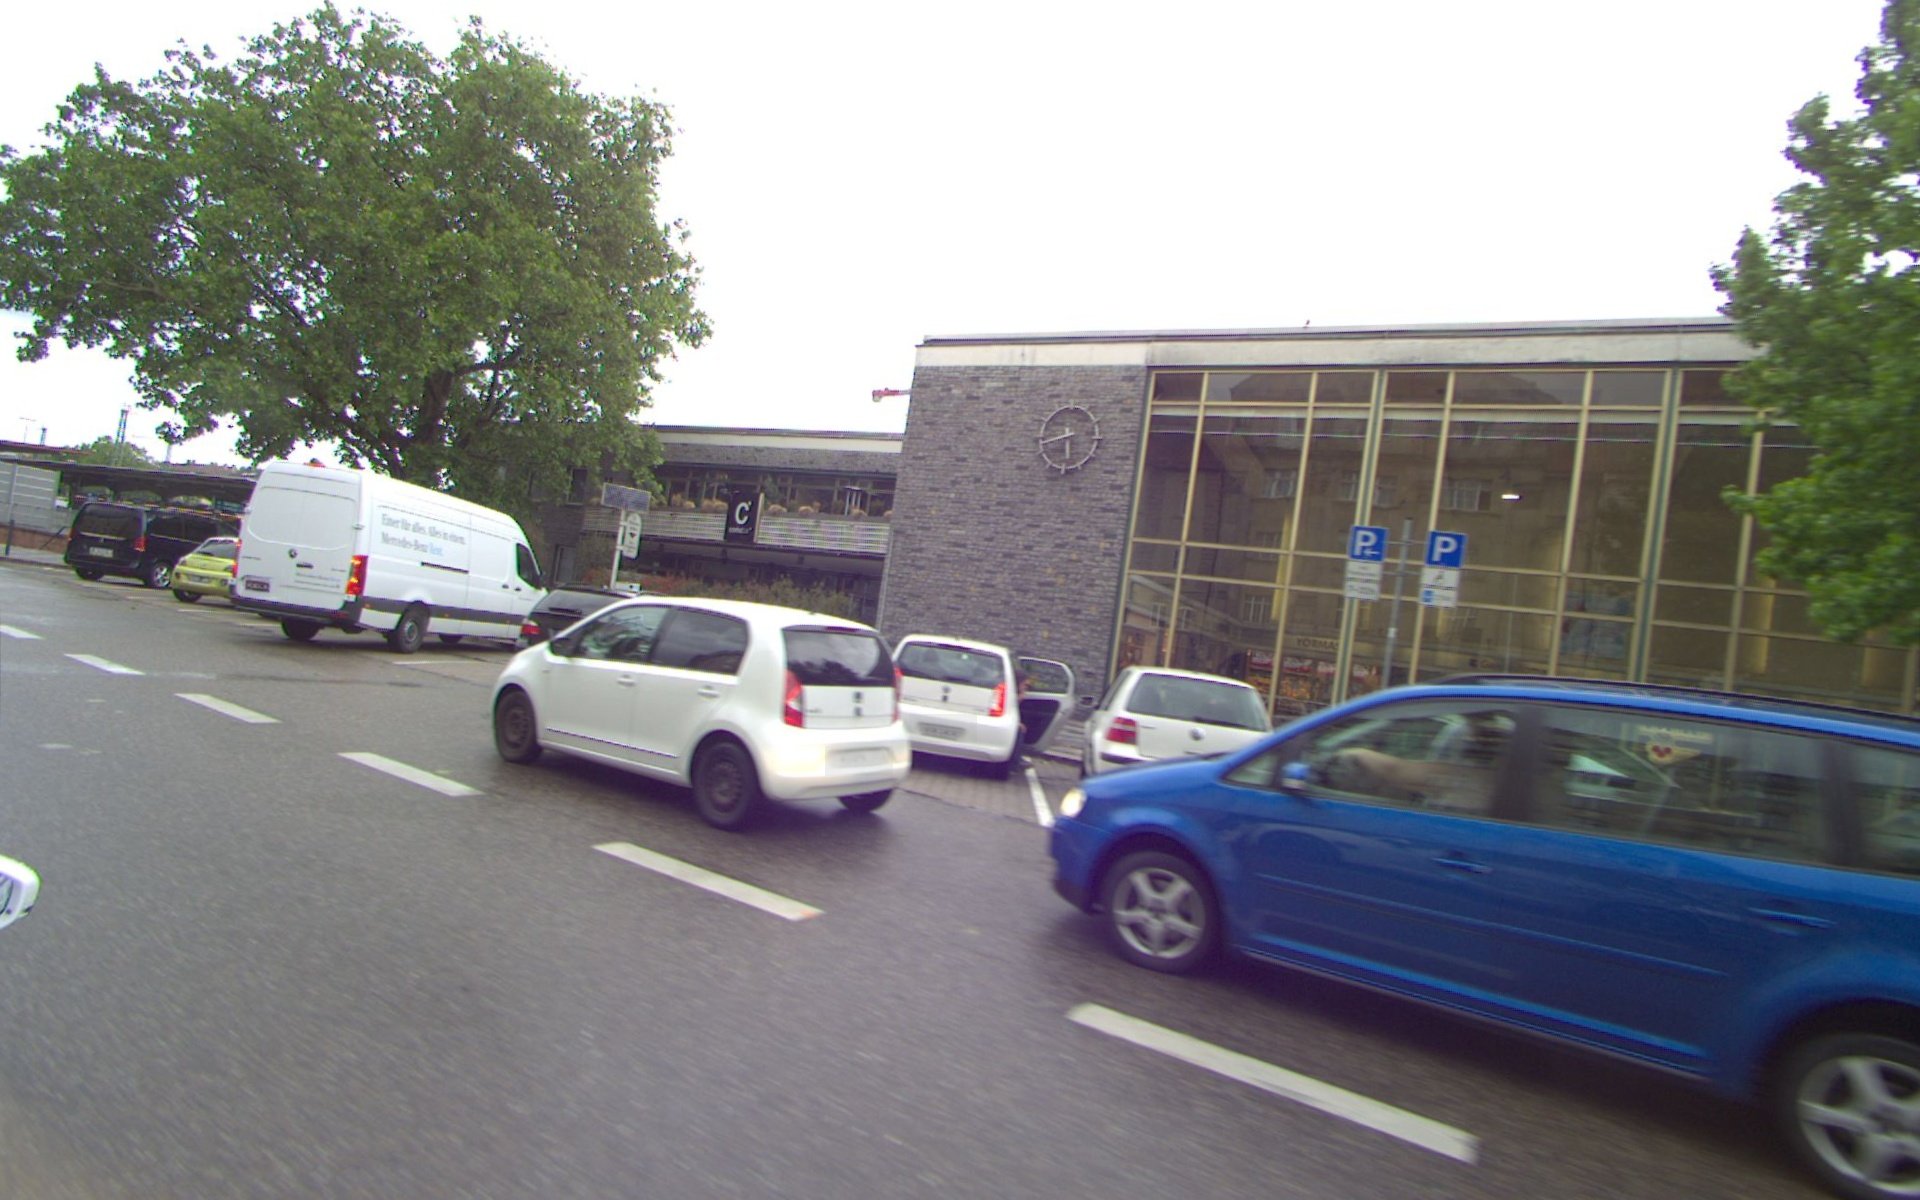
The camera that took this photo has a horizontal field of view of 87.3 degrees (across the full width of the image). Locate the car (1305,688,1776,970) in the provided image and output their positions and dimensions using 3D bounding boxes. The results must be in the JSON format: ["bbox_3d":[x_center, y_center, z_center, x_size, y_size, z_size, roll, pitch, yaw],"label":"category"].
[{"bbox_3d":[4.474,1.666,8.561,1.746,1.415,3.934,7,-2,3],"label":"car"}]

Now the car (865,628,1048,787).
[{"bbox_3d":[0.060,1.185,12.254,1.746,1.415,3.623,7,-2,3],"label":"car"}]

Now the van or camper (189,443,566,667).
[{"bbox_3d":[-9.507,-0.526,17.465,2.237,2.903,6.535,7,-2,2],"label":"van or camper"}]

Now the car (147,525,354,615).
[{"bbox_3d":[-15.462,-0.583,22.190,1.730,1.542,3.593,7,-2,3],"label":"car"}]

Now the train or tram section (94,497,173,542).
[{"bbox_3d":[-77.180,-7.533,93.855,8.982,3.322,2.658,6,-1,31],"label":"train or tram section"}]

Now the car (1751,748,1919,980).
[{"bbox_3d":[7.479,1.997,6.671,1.745,1.415,3.936,7,-2,11],"label":"car"}]

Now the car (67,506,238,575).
[{"bbox_3d":[-31.718,-2.292,39.666,2.072,1.896,4.697,7,-2,28],"label":"car"}]

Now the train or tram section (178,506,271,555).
[{"bbox_3d":[-61.895,-5.879,84.565,9.362,3.322,2.658,6,-1,31],"label":"train or tram section"}]

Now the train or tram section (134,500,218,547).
[{"bbox_3d":[-69.598,-6.799,89.251,8.982,3.322,2.658,6,-1,31],"label":"train or tram section"}]

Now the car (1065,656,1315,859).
[{"bbox_3d":[2.126,1.426,10.298,1.746,1.415,3.623,7,-2,3],"label":"car"}]

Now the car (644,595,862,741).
[{"bbox_3d":[-2.512,0.829,13.148,1.746,1.415,3.693,7,-2,3],"label":"car"}]

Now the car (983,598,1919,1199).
[{"bbox_3d":[2.499,1.124,4.738,4.346,1.702,1.821,7,-1,35],"label":"car"}]

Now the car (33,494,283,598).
[{"bbox_3d":[-19.639,-1.219,24.990,2.069,1.896,4.704,7,-2,3],"label":"car"}]

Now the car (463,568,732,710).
[{"bbox_3d":[-4.927,0.556,14.473,1.884,1.488,4.474,7,-2,3],"label":"car"}]

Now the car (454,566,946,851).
[{"bbox_3d":[-2.098,0.712,7.846,3.531,1.492,1.659,7,-1,34],"label":"car"}]

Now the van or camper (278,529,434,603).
[{"bbox_3d":[-21.814,-1.198,36.502,1.987,2.014,4.287,7,-2,31],"label":"van or camper"}]

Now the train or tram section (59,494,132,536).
[{"bbox_3d":[-84.646,-8.363,98.460,8.617,3.322,2.658,6,-1,31],"label":"train or tram section"}]

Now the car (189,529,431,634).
[{"bbox_3d":[-13.013,-0.272,20.530,1.849,1.653,4.240,7,-2,3],"label":"car"}]

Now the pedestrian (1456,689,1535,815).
[{"bbox_3d":[7.761,2.175,14.576,0.819,1.661,0.758,7,-1,31],"label":"pedestrian"}]
